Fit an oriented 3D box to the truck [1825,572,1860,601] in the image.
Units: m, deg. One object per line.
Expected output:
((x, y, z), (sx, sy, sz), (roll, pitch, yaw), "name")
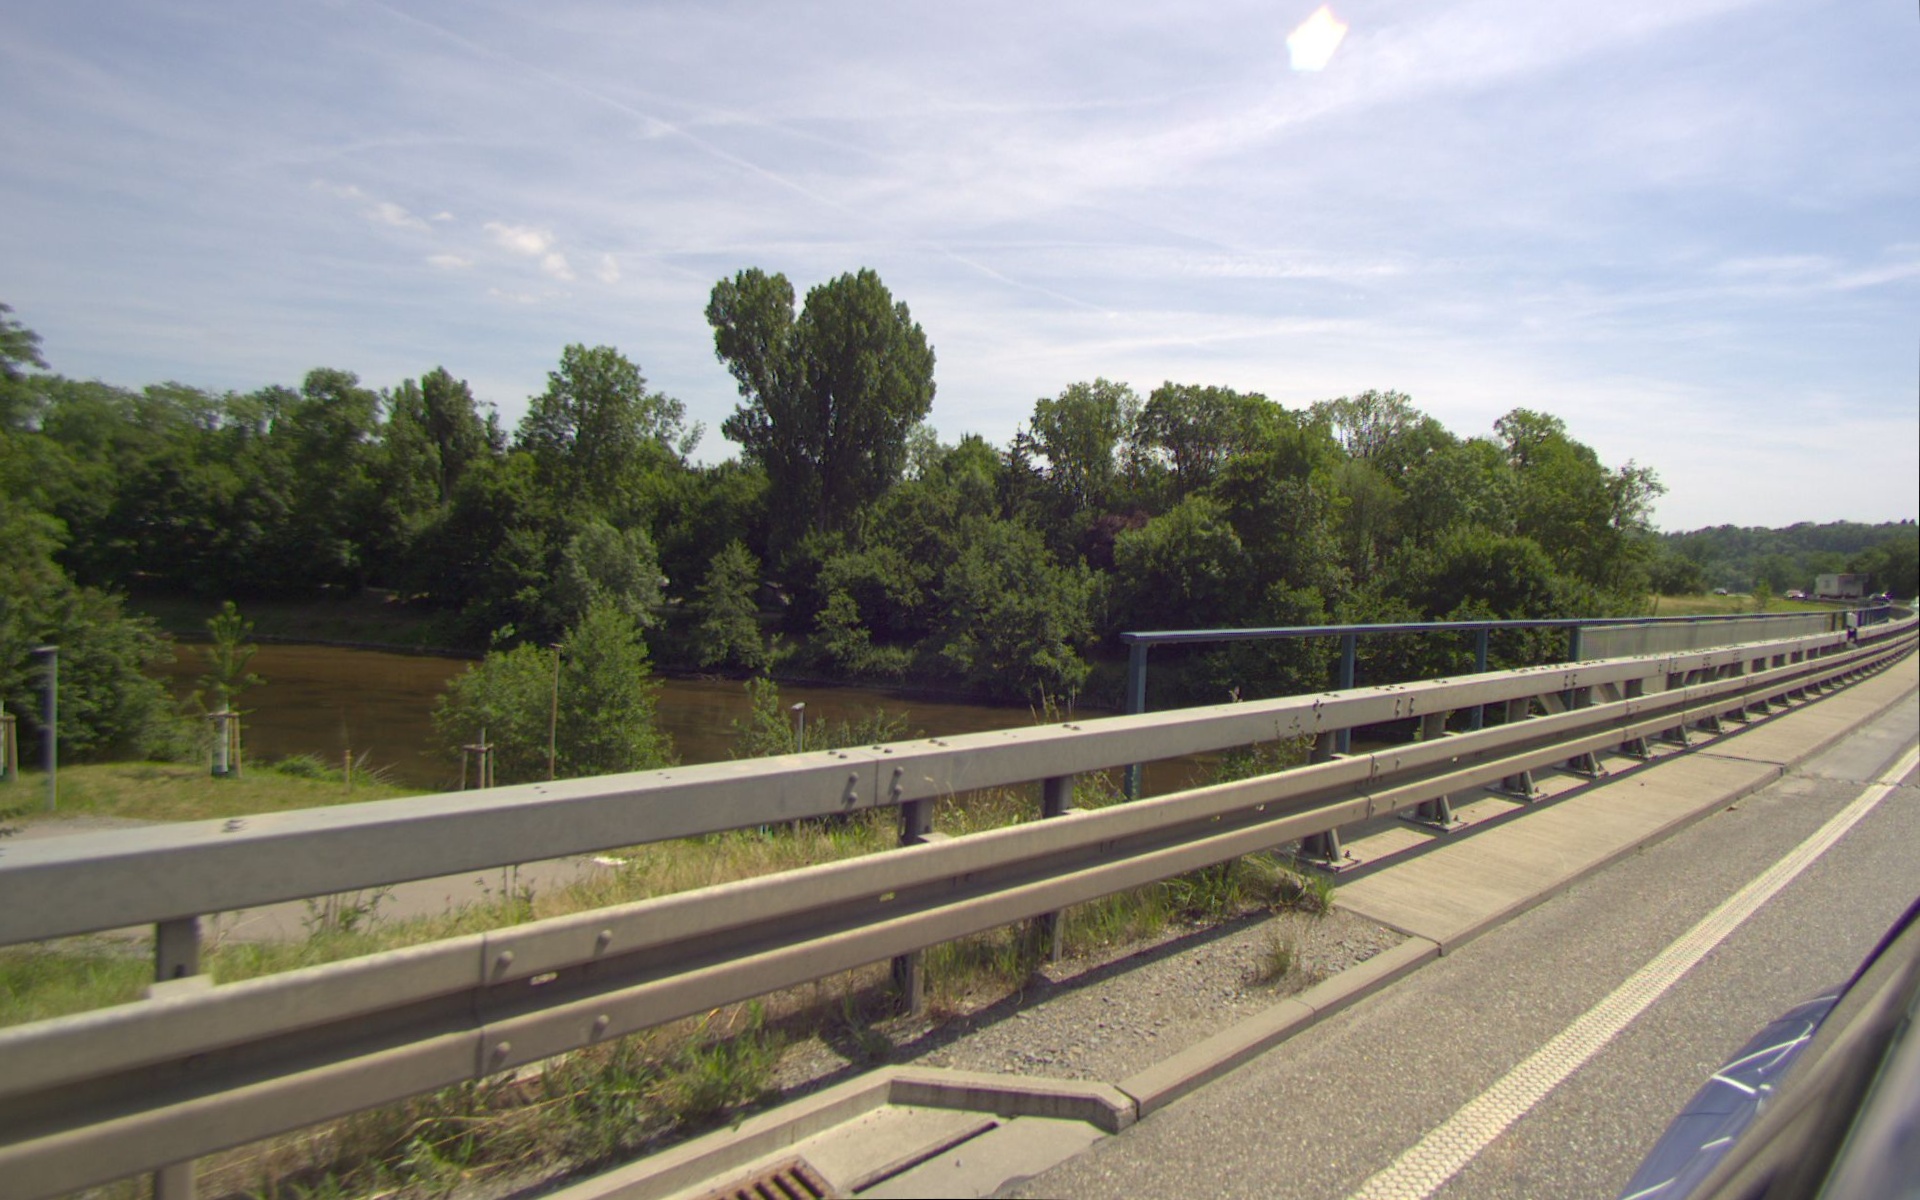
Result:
((127.177, -1.934, 145.880), (2.834, 4.213, 6.259), (1, 0, 32), "truck")

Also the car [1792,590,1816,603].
((124.262, -0.540, 149.010), (1.965, 1.754, 3.957), (2, 0, 30), "car")

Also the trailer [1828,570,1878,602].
((123.927, -1.907, 140.626), (2.840, 4.241, 14.331), (1, 0, 32), "trailer")

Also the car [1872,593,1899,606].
((112.219, -0.042, 122.721), (1.655, 1.475, 3.848), (3, 2, 33), "car")
